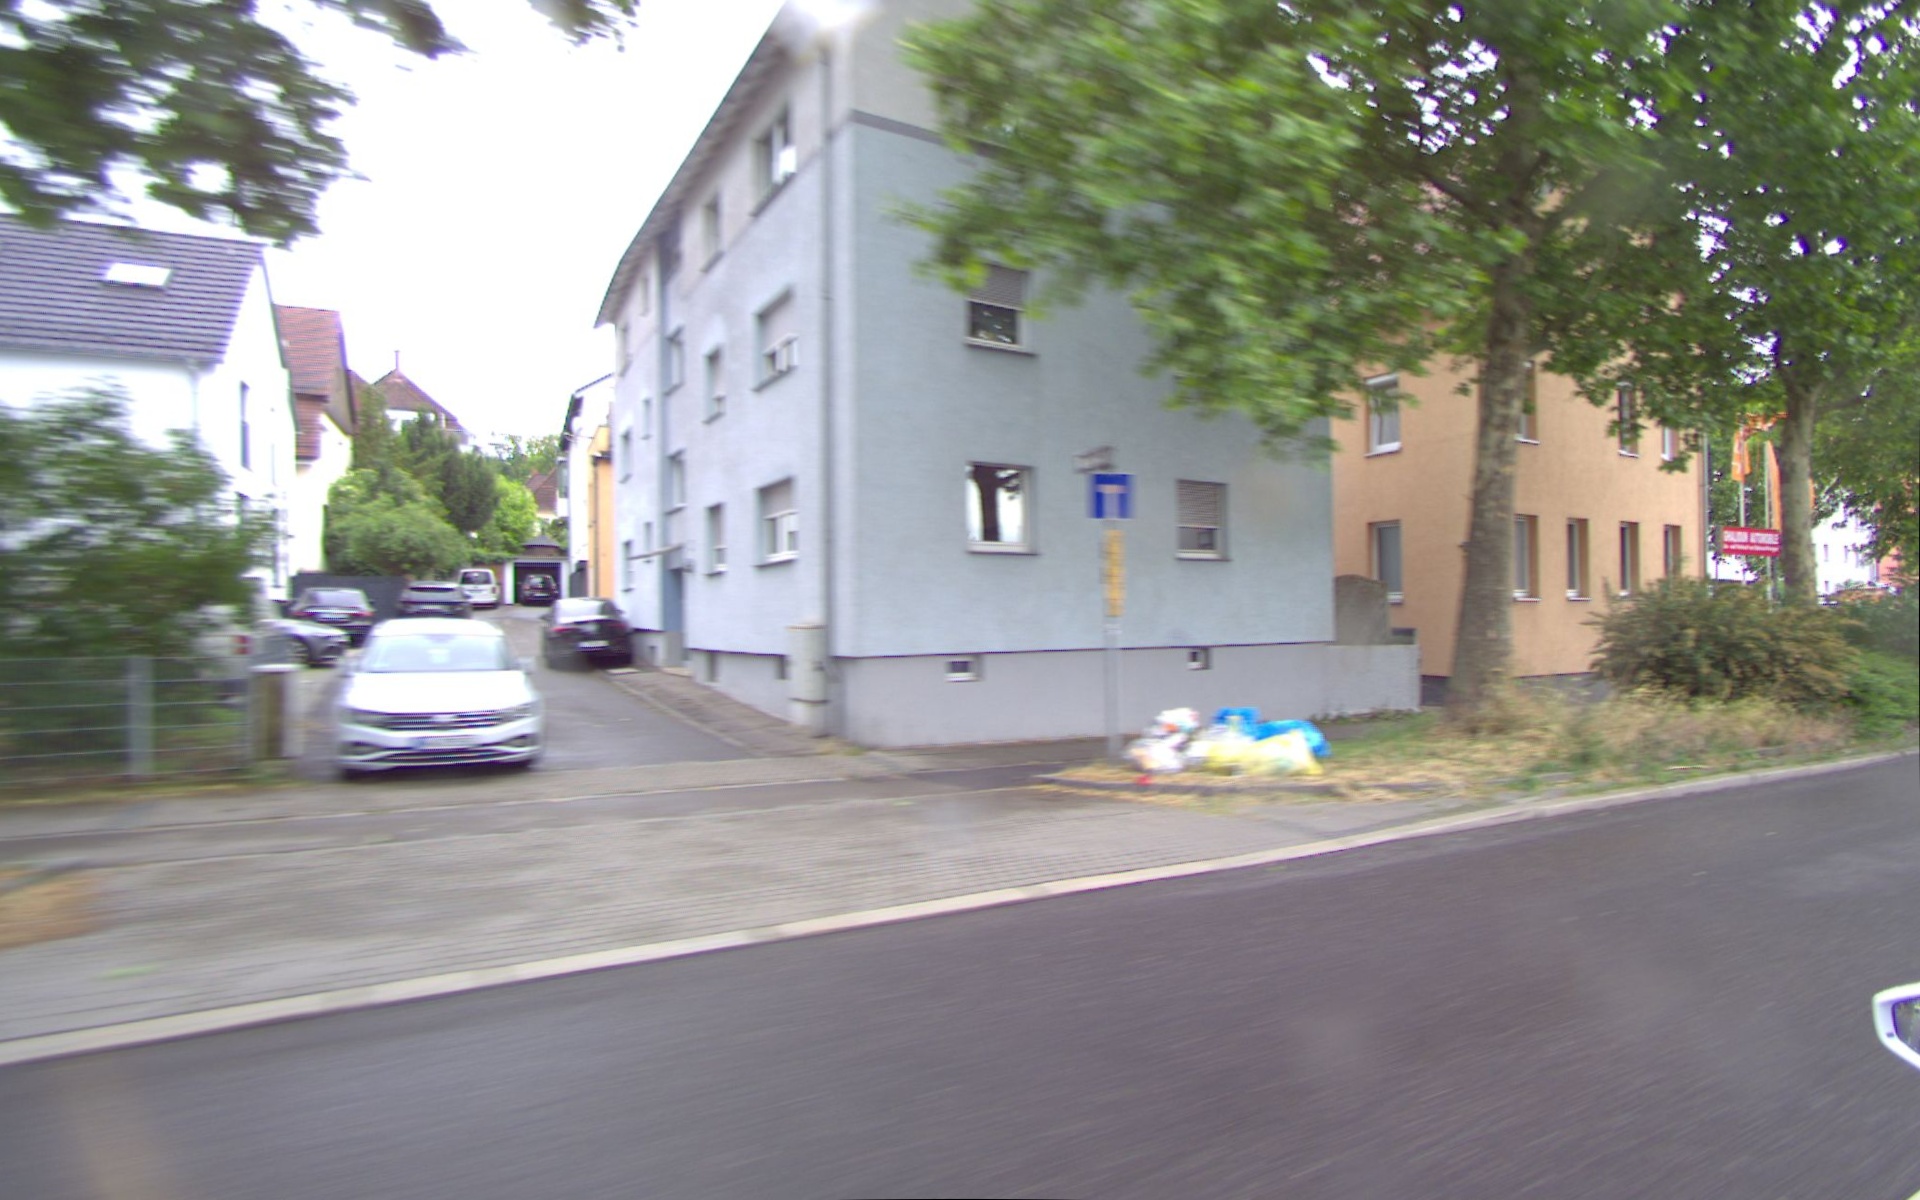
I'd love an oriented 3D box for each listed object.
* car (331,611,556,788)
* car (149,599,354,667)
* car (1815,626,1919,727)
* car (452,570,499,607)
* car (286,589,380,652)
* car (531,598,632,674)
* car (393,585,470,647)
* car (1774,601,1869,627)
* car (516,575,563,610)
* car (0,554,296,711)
[{"bbox_3d":[-5.984,0.946,11.512,1.848,1.496,4.640,2,0,-30],"label":"car"},{"bbox_3d":[-14.320,0.685,20.502,3.238,1.272,1.363,2,0,-30],"label":"car"},{"bbox_3d":[16.864,1.256,17.483,4.302,1.572,1.776,1,0,-32],"label":"car"},{"bbox_3d":[-22.651,-0.554,46.855,1.841,1.607,3.971,2,1,-27],"label":"car"},{"bbox_3d":[-16.323,0.504,26.329,1.697,1.498,3.972,2,0,-27],"label":"car"},{"bbox_3d":[-8.414,0.732,22.221,1.598,1.481,3.143,-1,1,-30],"label":"car"},{"bbox_3d":[-15.523,0.437,29.598,1.841,1.660,3.972,2,0,-27],"label":"car"},{"bbox_3d":[52.109,0.832,60.842,1.825,1.433,3.971,2,0,-28],"label":"car"},{"bbox_3d":[-21.353,-0.413,50.921,1.841,1.607,3.971,2,1,-27],"label":"car"},{"bbox_3d":[-11.780,0.412,13.463,4.492,1.945,1.878,2,0,-26],"label":"car"}]
